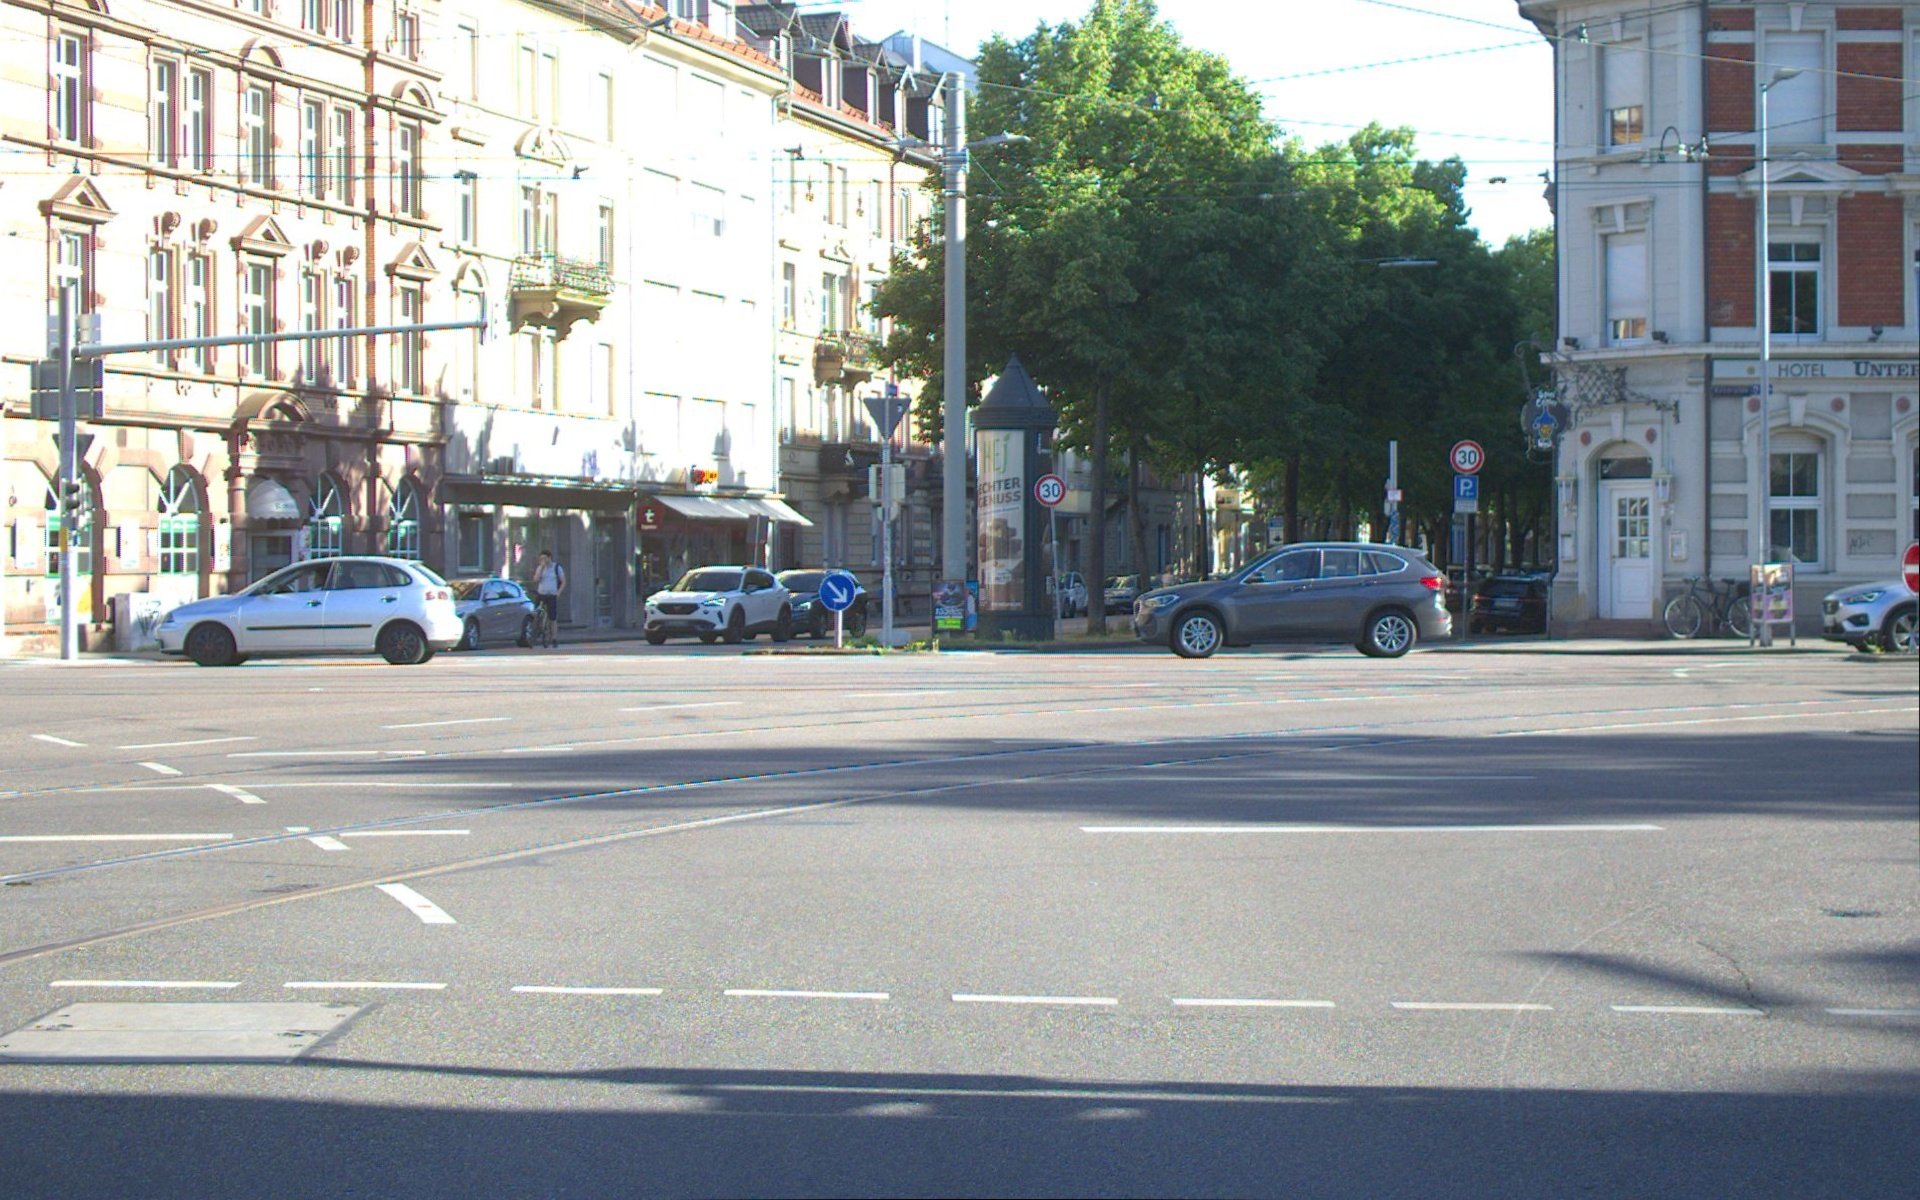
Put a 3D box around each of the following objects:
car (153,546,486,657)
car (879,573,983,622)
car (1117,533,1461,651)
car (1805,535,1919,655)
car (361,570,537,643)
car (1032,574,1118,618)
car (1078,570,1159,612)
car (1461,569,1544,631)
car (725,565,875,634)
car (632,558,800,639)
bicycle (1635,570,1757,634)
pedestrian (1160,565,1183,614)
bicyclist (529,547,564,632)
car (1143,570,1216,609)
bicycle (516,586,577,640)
[{"bbox_3d":[-8.359,0.004,45.124,4.027,1.418,1.886,0,1,0],"label":"car"},{"bbox_3d":[-0.839,-0.089,102.090,1.995,1.400,4.166,0,1,16],"label":"car"},{"bbox_3d":[4.586,-0.125,48.361,4.579,1.610,2.000,0,1,-2],"label":"car"},{"bbox_3d":[14.560,-0.099,48.327,4.854,1.648,2.000,0,1,-2],"label":"car"},{"bbox_3d":[-9.924,0.103,67.043,1.995,1.357,3.816,0,1,16],"label":"car"},{"bbox_3d":[3.943,-0.147,116.860,1.995,1.400,4.166,0,1,16],"label":"car"},{"bbox_3d":[5.656,-0.336,122.578,1.995,1.400,4.166,0,1,16],"label":"car"},{"bbox_3d":[13.051,-0.023,82.528,1.756,1.415,3.998,0,1,12],"label":"car"},{"bbox_3d":[-3.395,-0.039,73.644,1.995,1.400,4.166,0,1,16],"label":"car"},{"bbox_3d":[-4.749,-0.051,67.470,1.995,1.511,4.166,0,1,16],"label":"car"},{"bbox_3d":[12.272,0.027,57.341,1.953,1.050,0.715,0,1,10],"label":"bicycle"},{"bbox_3d":[6.114,-0.305,99.288,0.547,1.380,0.625,0,1,16],"label":"pedestrian"},{"bbox_3d":[-7.837,-0.201,65.193,0.489,1.596,0.666,0,1,10],"label":"bicyclist"},{"bbox_3d":[8.409,-0.414,131.406,1.995,1.400,4.166,0,1,16],"label":"car"},{"bbox_3d":[-7.844,0.233,65.300,0.655,0.997,1.664,1,1,12],"label":"bicycle"}]
